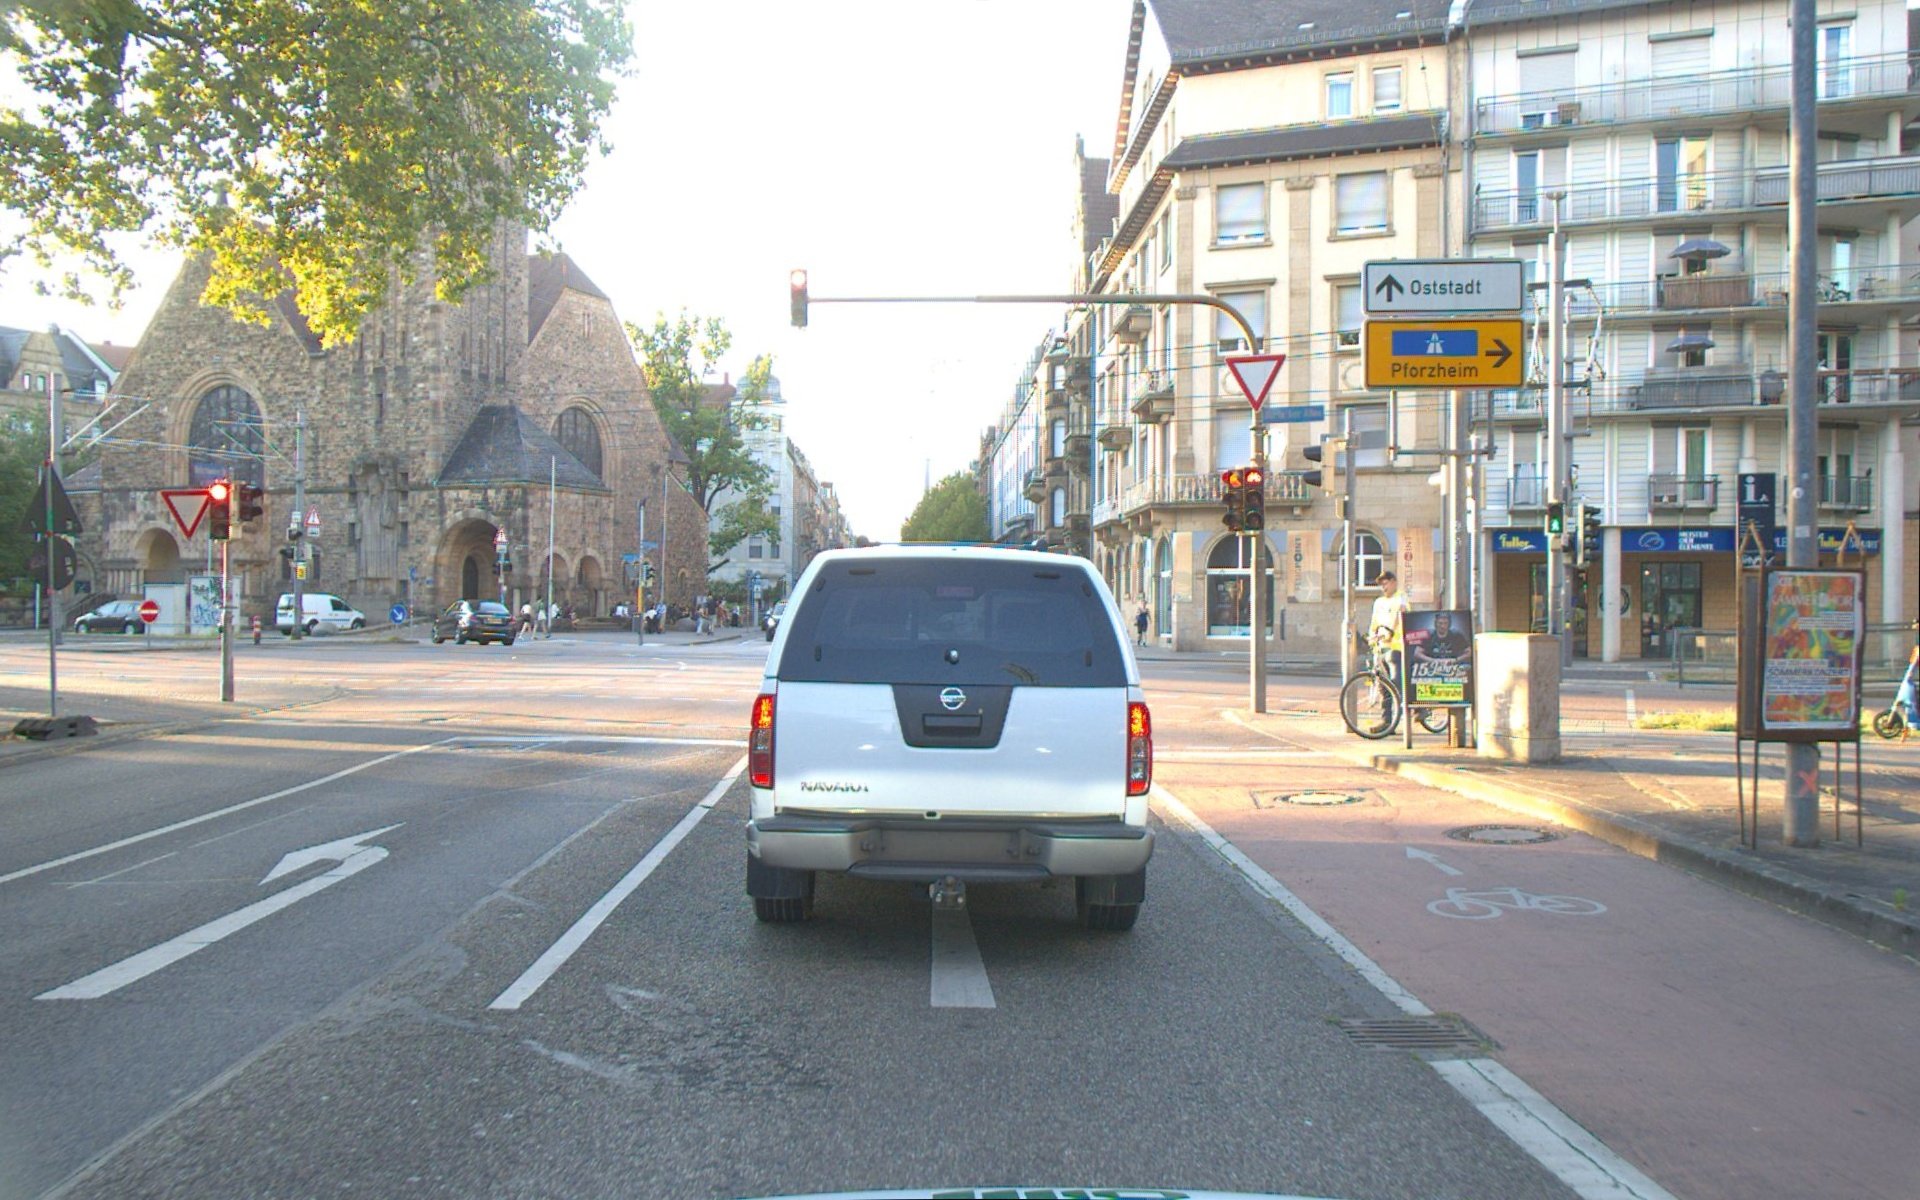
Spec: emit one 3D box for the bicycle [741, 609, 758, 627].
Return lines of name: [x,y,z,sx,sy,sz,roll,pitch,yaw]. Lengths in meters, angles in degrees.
bicycle: [-12.236,1.050,96.030,0.590,1.062,1.935,1,-1,-18]

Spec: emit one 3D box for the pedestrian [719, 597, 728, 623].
pedestrian: [-15.543,0.657,108.527,0.549,1.725,0.643,1,-1,-9]

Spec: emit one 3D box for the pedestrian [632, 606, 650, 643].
pedestrian: [-15.551,1.193,80.648,0.620,1.728,0.603,1,2,18]

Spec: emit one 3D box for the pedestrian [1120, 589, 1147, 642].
pedestrian: [6.013,0.546,57.440,0.771,1.810,0.543,1,-1,24]

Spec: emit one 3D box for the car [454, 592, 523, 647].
car: [-15.735,0.696,55.114,1.963,1.646,3.978,2,-3,-19]

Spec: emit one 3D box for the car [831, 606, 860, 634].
car: [-8.522,1.502,123.305,1.953,2.049,4.948,0,-1,-2]

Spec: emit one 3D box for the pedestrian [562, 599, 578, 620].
pedestrian: [-18.030,0.443,76.521,0.511,0.977,0.479,1,-1,18]

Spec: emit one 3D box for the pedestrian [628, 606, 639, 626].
pedestrian: [-16.227,0.802,82.217,0.513,0.977,0.477,1,-1,-17]

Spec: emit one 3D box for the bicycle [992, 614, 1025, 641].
bicycle: [1.962,1.110,66.941,1.306,1.042,0.317,-3,-1,-3]

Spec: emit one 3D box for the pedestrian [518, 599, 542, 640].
pedestrian: [-18.027,0.807,69.339,0.796,1.699,0.859,1,-1,-3]

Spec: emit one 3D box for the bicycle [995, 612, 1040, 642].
bicycle: [2.267,1.058,64.805,1.692,1.102,0.317,-3,-1,-3]

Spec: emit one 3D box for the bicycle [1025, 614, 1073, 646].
bicycle: [3.455,1.170,64.356,1.781,1.170,0.636,-3,-1,-3]

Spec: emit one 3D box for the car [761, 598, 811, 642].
car: [-7.953,0.887,76.105,1.954,1.815,4.796,1,1,-3]

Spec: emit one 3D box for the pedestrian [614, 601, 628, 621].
pedestrian: [-16.869,0.541,82.246,0.510,0.977,0.479,1,-1,16]

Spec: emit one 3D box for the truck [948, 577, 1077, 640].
truck: [2.292,0.398,70.908,5.630,2.610,2.250,1,-1,-45]

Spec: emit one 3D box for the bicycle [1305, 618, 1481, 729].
bicycle: [4.659,0.776,17.731,2.046,1.129,0.621,2,-1,-34]

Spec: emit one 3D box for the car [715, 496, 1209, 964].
car: [-0.015,0.552,8.673,1.953,1.841,3.999,1,-1,-1]

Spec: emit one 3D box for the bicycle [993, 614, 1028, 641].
bicycle: [2.018,1.103,66.396,1.344,1.042,0.317,-3,-1,-3]

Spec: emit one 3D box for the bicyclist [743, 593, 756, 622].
bicyclist: [-12.236,0.440,96.071,0.590,1.673,0.958,1,-1,-18]

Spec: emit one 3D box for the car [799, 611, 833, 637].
car: [-9.372,1.576,107.947,1.953,1.585,4.766,2,0,-2]

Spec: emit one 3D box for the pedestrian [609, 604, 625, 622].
pedestrian: [-18.780,0.708,90.500,0.540,0.977,0.710,1,-1,20]

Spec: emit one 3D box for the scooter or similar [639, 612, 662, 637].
scooter or similar: [-14.910,1.175,79.653,0.620,1.122,1.079,3,3,15]

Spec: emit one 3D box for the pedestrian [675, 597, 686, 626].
pedestrian: [-16.820,0.721,99.459,0.631,1.725,0.560,1,-1,-9]

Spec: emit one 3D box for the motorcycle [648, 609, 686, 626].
motorcycle: [-17.334,1.040,97.839,2.119,1.005,0.594,1,-1,19]

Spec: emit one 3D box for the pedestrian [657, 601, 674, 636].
pedestrian: [-14.318,0.903,80.486,0.620,1.728,0.603,1,-1,10]

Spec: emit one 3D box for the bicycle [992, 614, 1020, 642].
bicycle: [1.839,1.106,65.681,1.055,1.042,0.317,-3,-1,-3]

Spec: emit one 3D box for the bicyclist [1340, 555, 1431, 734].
bicyclist: [4.539,0.469,17.652,0.690,1.856,0.621,2,-1,-33]

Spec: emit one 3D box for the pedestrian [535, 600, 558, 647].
pedestrian: [-17.315,0.982,69.296,0.796,1.934,0.666,1,-1,-3]

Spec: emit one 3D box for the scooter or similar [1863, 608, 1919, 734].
scooter or similar: [9.953,0.730,16.884,1.211,1.271,0.513,0,-1,39]

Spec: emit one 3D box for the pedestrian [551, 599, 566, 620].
pedestrian: [-18.644,0.433,76.787,0.511,0.977,0.479,1,-1,18]

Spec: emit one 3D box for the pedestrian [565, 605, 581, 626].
pedestrian: [-18.175,0.735,77.685,0.469,0.977,0.522,1,-1,29]

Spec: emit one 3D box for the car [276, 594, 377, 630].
car: [-29.139,0.566,76.220,1.679,1.543,4.454,1,-1,23]

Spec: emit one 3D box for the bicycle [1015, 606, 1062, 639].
bicycle: [3.220,0.916,67.870,1.818,1.259,0.530,-3,-1,-3]

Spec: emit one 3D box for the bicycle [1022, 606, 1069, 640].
bicycle: [3.378,0.909,65.302,1.781,1.259,0.487,-3,-1,-3]

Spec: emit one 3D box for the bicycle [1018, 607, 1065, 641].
bicycle: [3.262,0.940,66.008,1.781,1.259,0.477,-3,-1,-3]

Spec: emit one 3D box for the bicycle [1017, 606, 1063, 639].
bicycle: [3.270,0.908,67.340,1.781,1.259,0.410,-3,-1,-3]

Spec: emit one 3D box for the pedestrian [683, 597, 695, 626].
pedestrian: [-16.619,0.711,101.540,0.630,1.725,0.561,1,-1,-2]

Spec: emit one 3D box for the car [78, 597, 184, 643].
car: [-32.492,0.768,64.815,3.917,1.713,1.994,1,-1,33]

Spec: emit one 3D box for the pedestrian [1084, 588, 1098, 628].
pedestrian: [5.576,0.342,70.436,0.517,1.683,0.547,1,-1,-1]
